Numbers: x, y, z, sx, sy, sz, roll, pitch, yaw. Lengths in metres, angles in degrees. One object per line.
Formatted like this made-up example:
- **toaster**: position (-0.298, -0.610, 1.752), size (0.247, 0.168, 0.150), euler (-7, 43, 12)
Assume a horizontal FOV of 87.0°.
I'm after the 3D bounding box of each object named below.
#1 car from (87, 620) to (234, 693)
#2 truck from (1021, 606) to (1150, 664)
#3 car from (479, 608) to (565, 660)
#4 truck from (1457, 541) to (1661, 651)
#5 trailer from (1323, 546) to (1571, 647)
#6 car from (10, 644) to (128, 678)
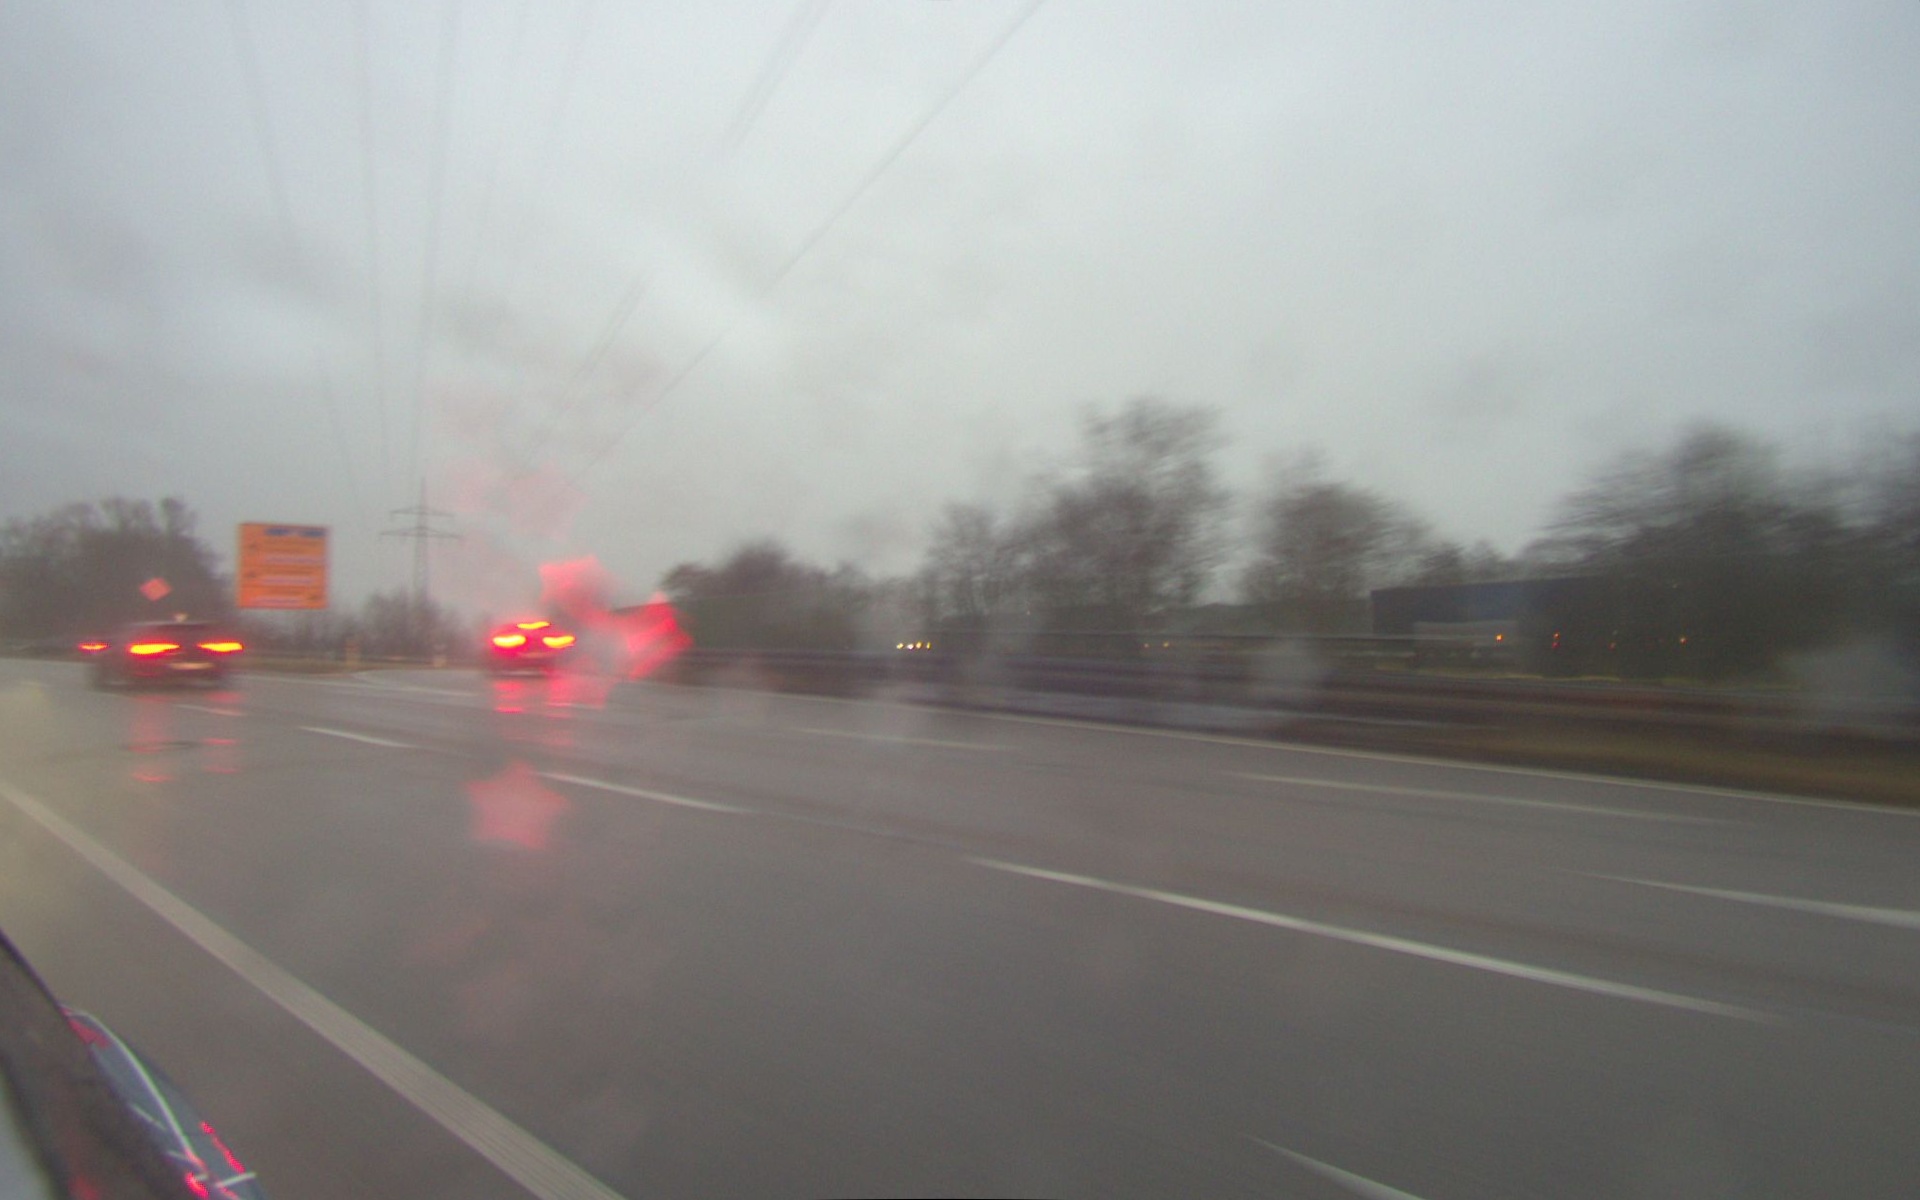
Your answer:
- **car**: position (-17.534, 1.173, 22.144), size (3.995, 1.428, 1.678), euler (-1, -1, 39)
- **truck**: position (10.493, 2.827, 87.497), size (3.230, 4.645, 13.917), euler (1, -1, -30)
- **car**: position (-12.051, 0.916, 27.730), size (1.573, 1.253, 4.012), euler (-2, 0, -31)
- **truck**: position (30.494, -0.153, 51.989), size (3.230, 5.169, 8.545), euler (1, -1, -30)
- **trailer**: position (27.209, -0.113, 57.783), size (3.256, 5.142, 13.271), euler (1, -1, -29)
- **car**: position (-46.786, 3.231, 53.197), size (4.220, 1.689, 2.002), euler (0, -5, -6)
